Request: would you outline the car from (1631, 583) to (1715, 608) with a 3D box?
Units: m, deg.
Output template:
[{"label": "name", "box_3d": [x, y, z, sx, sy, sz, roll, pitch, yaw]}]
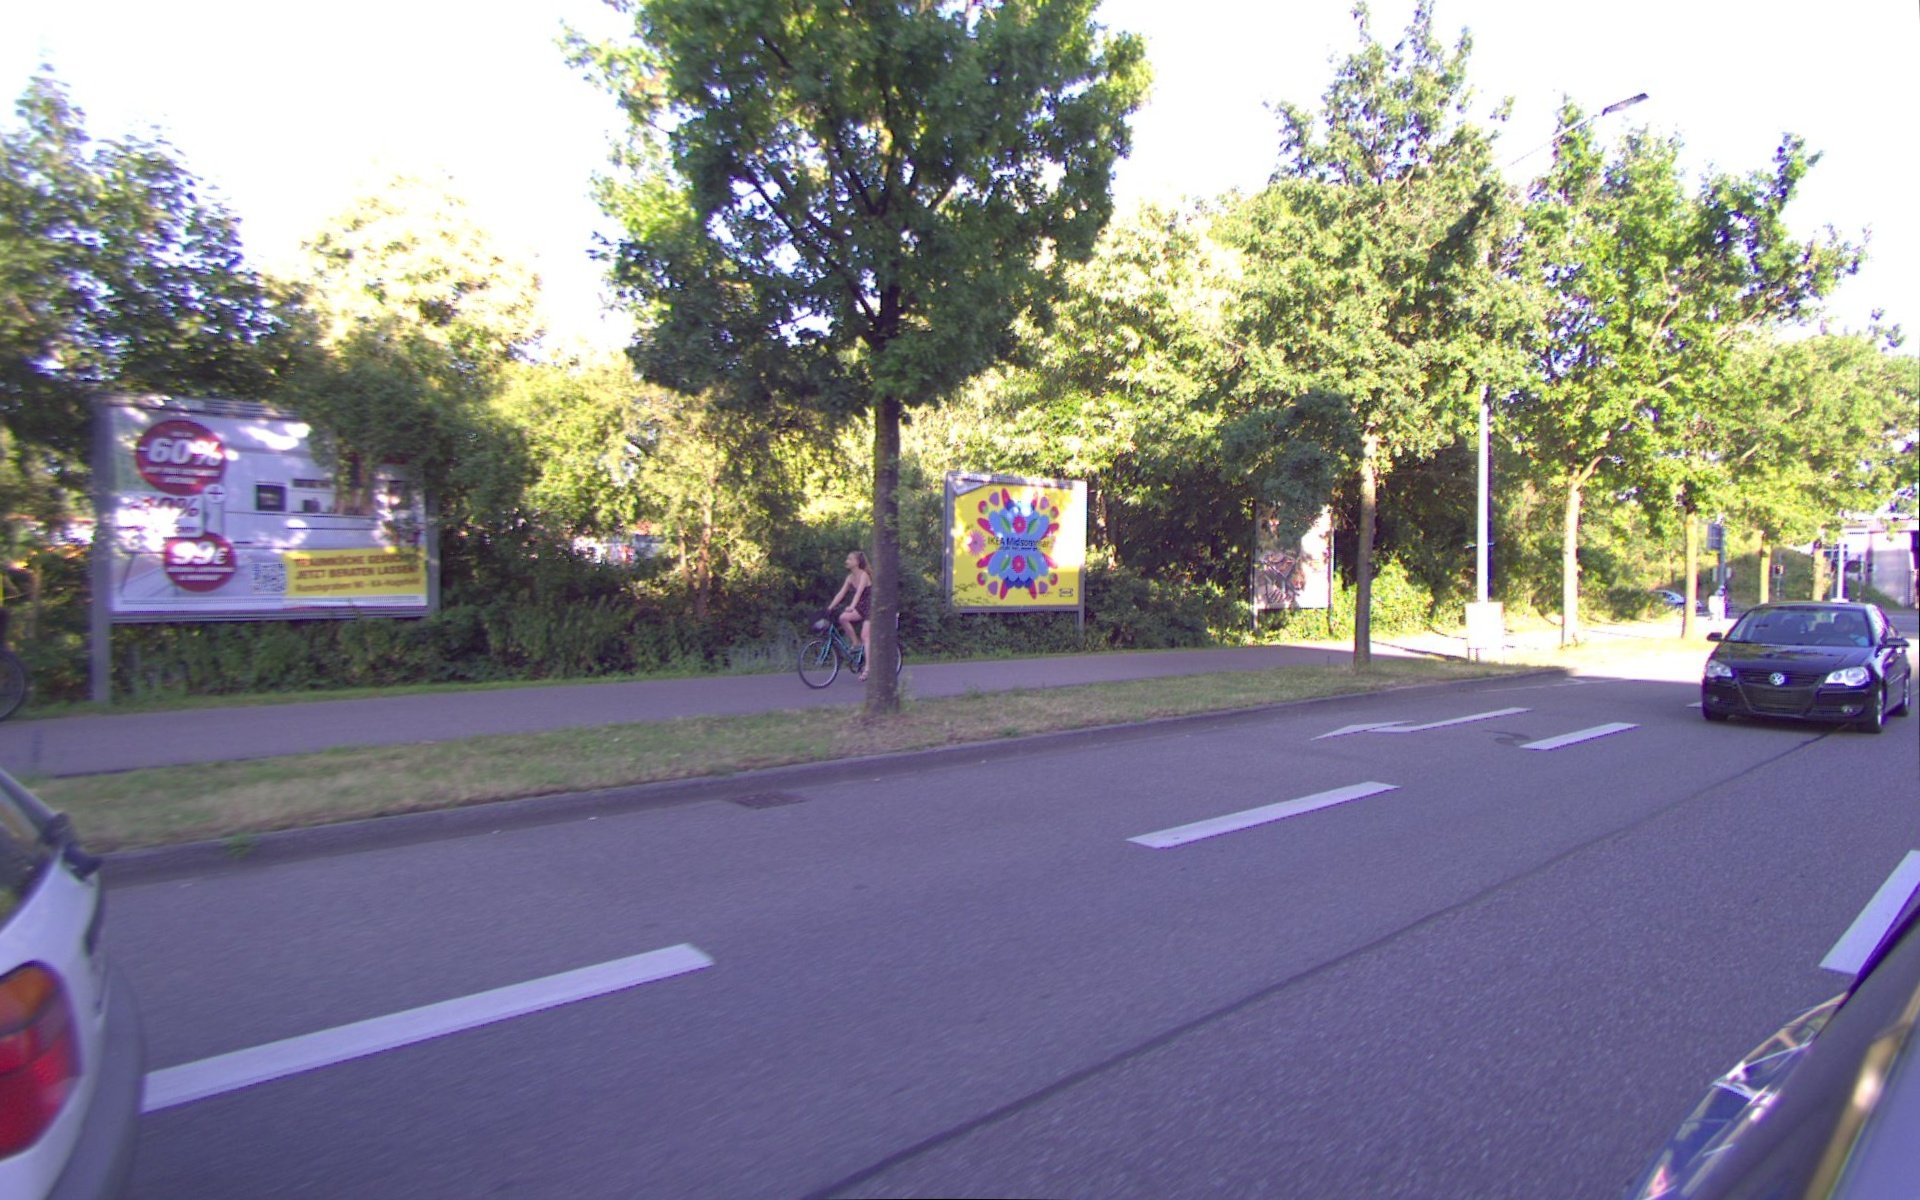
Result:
[{"label": "car", "box_3d": [48.425, -0.344, 68.816, 1.895, 1.537, 4.290, 0, 3, -36]}]

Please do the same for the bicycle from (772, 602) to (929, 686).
[{"label": "bicycle", "box_3d": [-1.396, 0.542, 13.184, 2.021, 0.986, 0.618, 0, 1, -39]}]

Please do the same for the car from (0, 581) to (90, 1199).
[{"label": "car", "box_3d": [-3.139, 0.707, 0.604, 3.969, 1.416, 1.613, -1, 0, -42]}]

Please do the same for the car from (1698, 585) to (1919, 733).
[{"label": "car", "box_3d": [10.673, 0.609, 12.479, 4.141, 1.518, 1.724, 0, 0, -42]}]

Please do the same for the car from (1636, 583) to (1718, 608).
[{"label": "car", "box_3d": [50.415, -0.346, 71.194, 1.895, 1.537, 4.290, 0, 3, -36]}]

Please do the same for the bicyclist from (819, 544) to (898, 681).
[{"label": "bicyclist", "box_3d": [-1.338, 0.147, 13.375, 0.833, 1.755, 0.605, 0, 1, -39]}]

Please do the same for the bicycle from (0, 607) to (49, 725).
[{"label": "bicycle", "box_3d": [-8.945, 0.572, 8.394, 2.021, 0.986, 0.618, 0, 1, -39]}]
